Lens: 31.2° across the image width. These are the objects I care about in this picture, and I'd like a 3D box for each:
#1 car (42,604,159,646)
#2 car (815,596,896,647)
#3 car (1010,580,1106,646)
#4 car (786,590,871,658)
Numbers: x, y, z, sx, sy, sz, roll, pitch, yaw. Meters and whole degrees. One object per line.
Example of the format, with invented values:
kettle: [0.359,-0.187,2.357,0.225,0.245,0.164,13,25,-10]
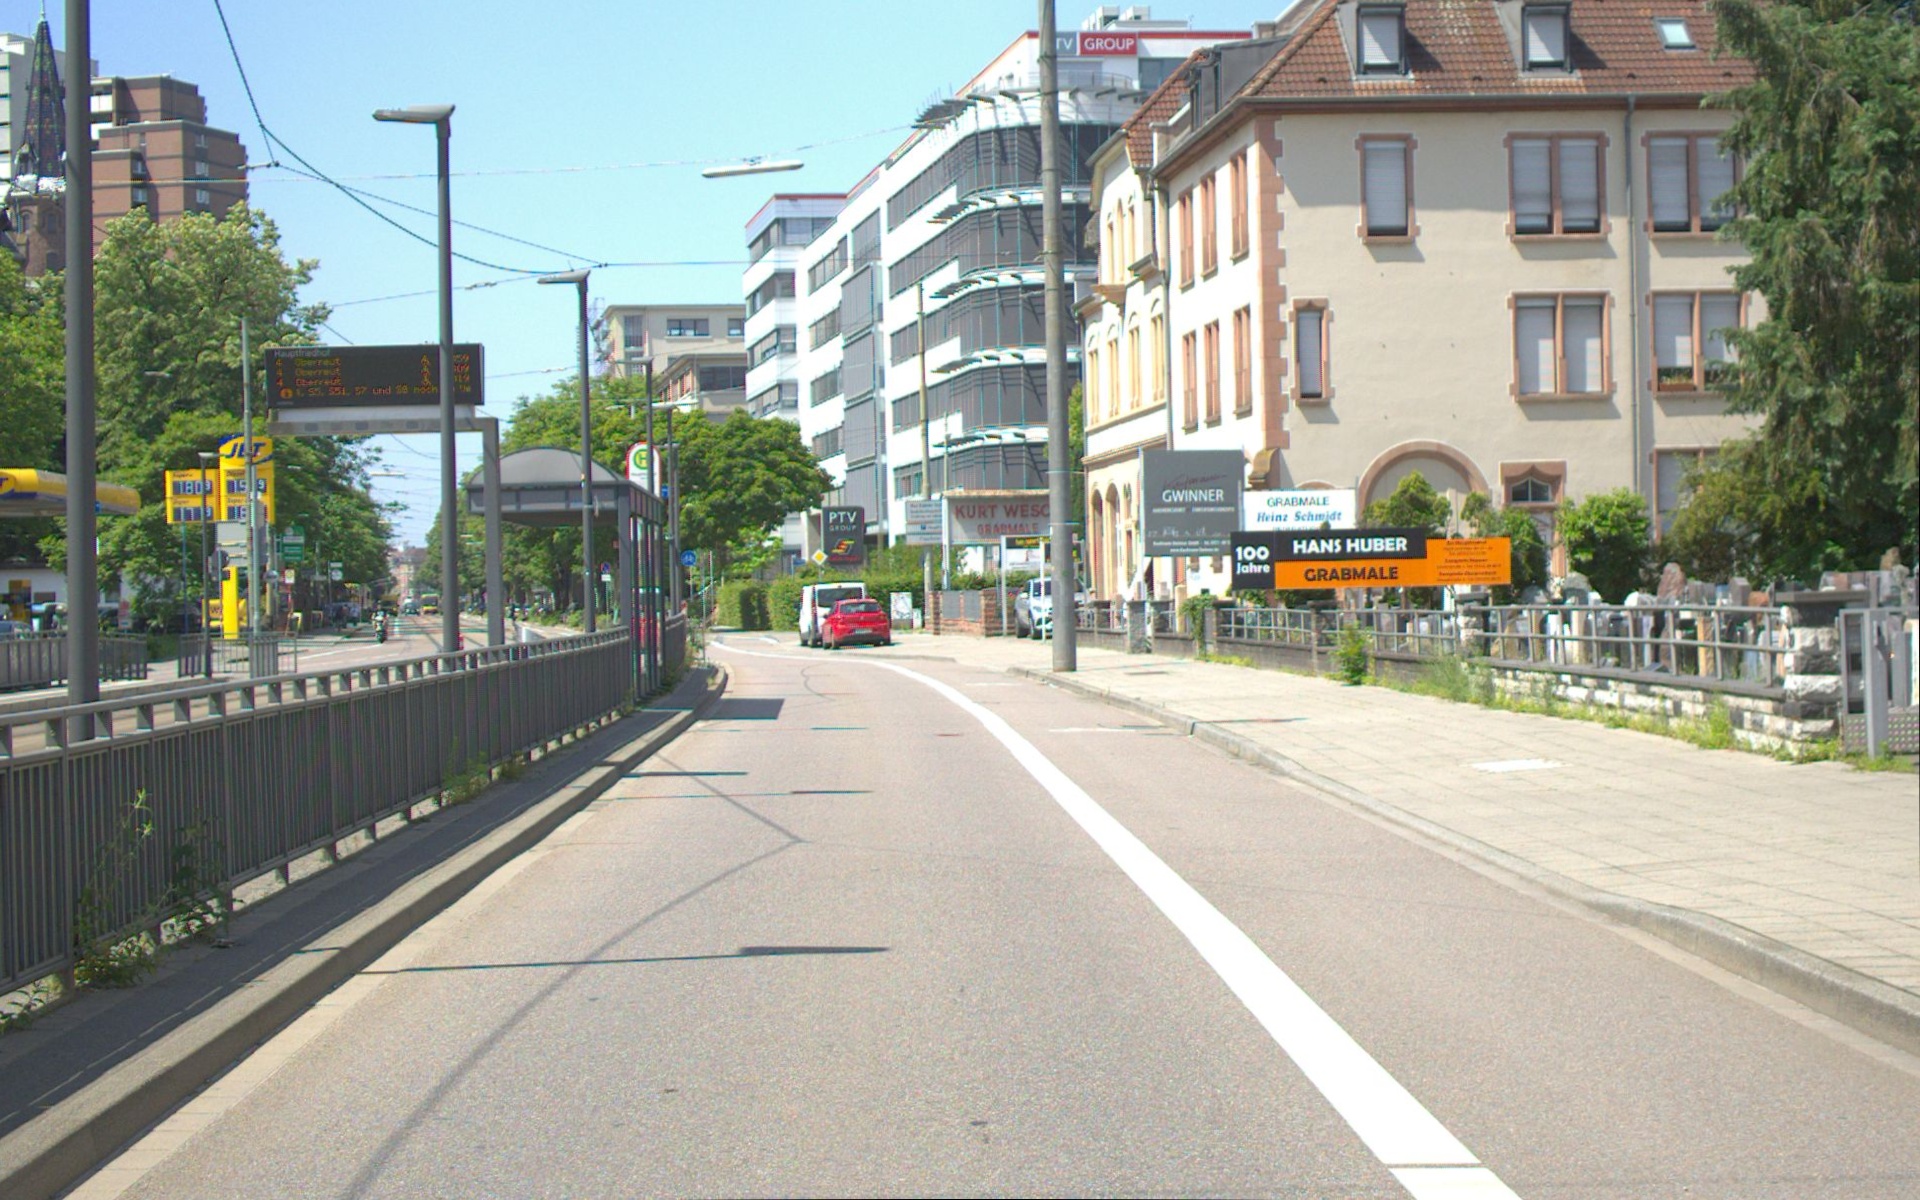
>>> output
car: [-35.051,1.005,140.251,1.997,1.584,4.325,-1,0,35]
car: [-3.129,0.643,102.222,1.993,1.437,4.017,-1,0,-7]
car: [2.610,0.356,92.862,1.877,1.619,4.640,-4,0,-6]
car: [-4.196,0.745,108.820,1.993,1.985,5.515,-3,0,-9]
